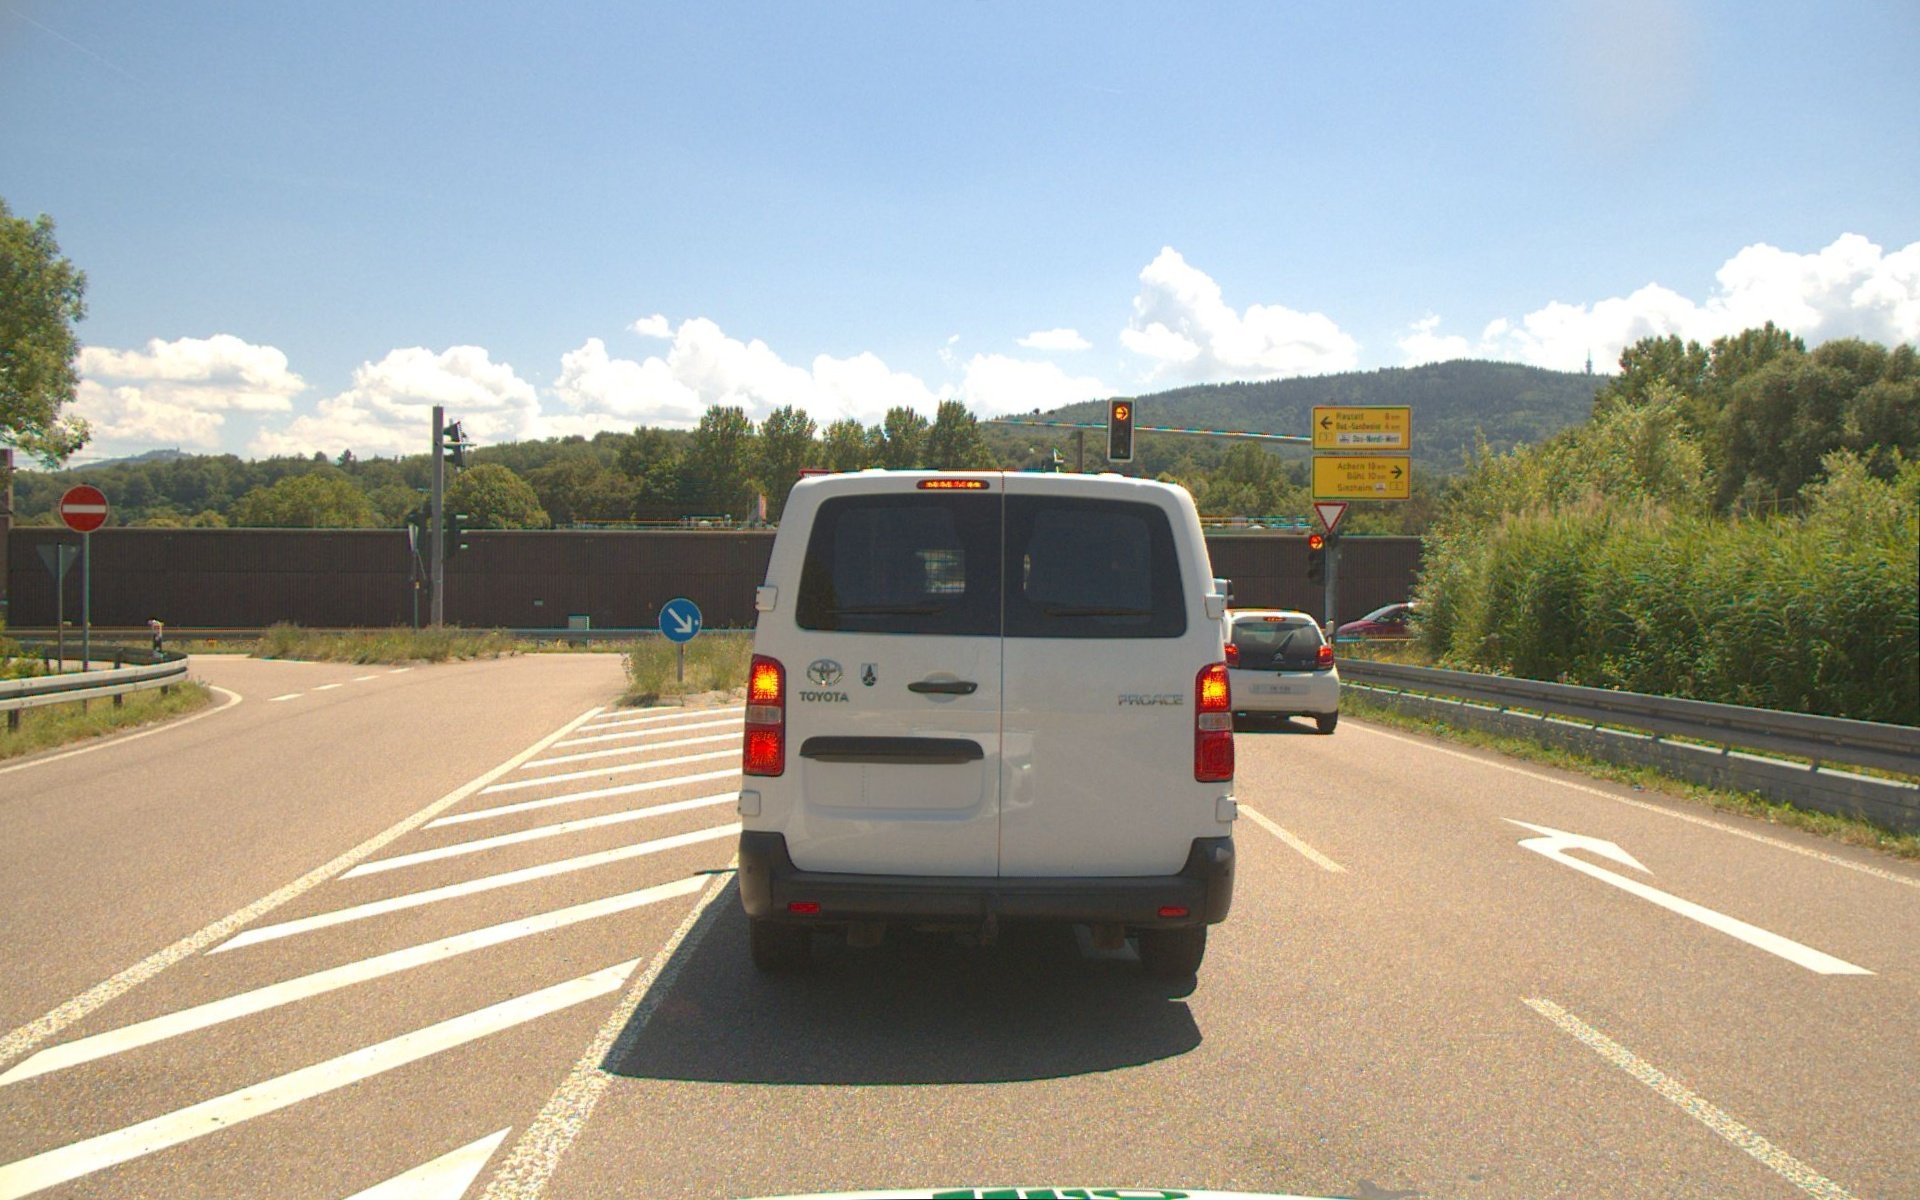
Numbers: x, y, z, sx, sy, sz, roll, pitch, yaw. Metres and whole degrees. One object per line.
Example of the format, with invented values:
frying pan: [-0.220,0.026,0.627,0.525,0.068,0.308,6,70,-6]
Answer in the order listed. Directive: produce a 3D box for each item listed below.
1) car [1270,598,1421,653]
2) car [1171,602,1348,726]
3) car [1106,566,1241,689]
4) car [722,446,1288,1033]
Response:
car: [12.039,0.787,51.798,4.224,1.685,1.998,0,0,-4]
car: [3.796,0.771,21.451,1.622,1.456,3.365,1,0,-1]
car: [3.788,0.469,30.083,1.889,2.035,4.838,1,0,1]
car: [0.116,0.471,7.469,1.848,1.919,3.999,1,0,-1]
